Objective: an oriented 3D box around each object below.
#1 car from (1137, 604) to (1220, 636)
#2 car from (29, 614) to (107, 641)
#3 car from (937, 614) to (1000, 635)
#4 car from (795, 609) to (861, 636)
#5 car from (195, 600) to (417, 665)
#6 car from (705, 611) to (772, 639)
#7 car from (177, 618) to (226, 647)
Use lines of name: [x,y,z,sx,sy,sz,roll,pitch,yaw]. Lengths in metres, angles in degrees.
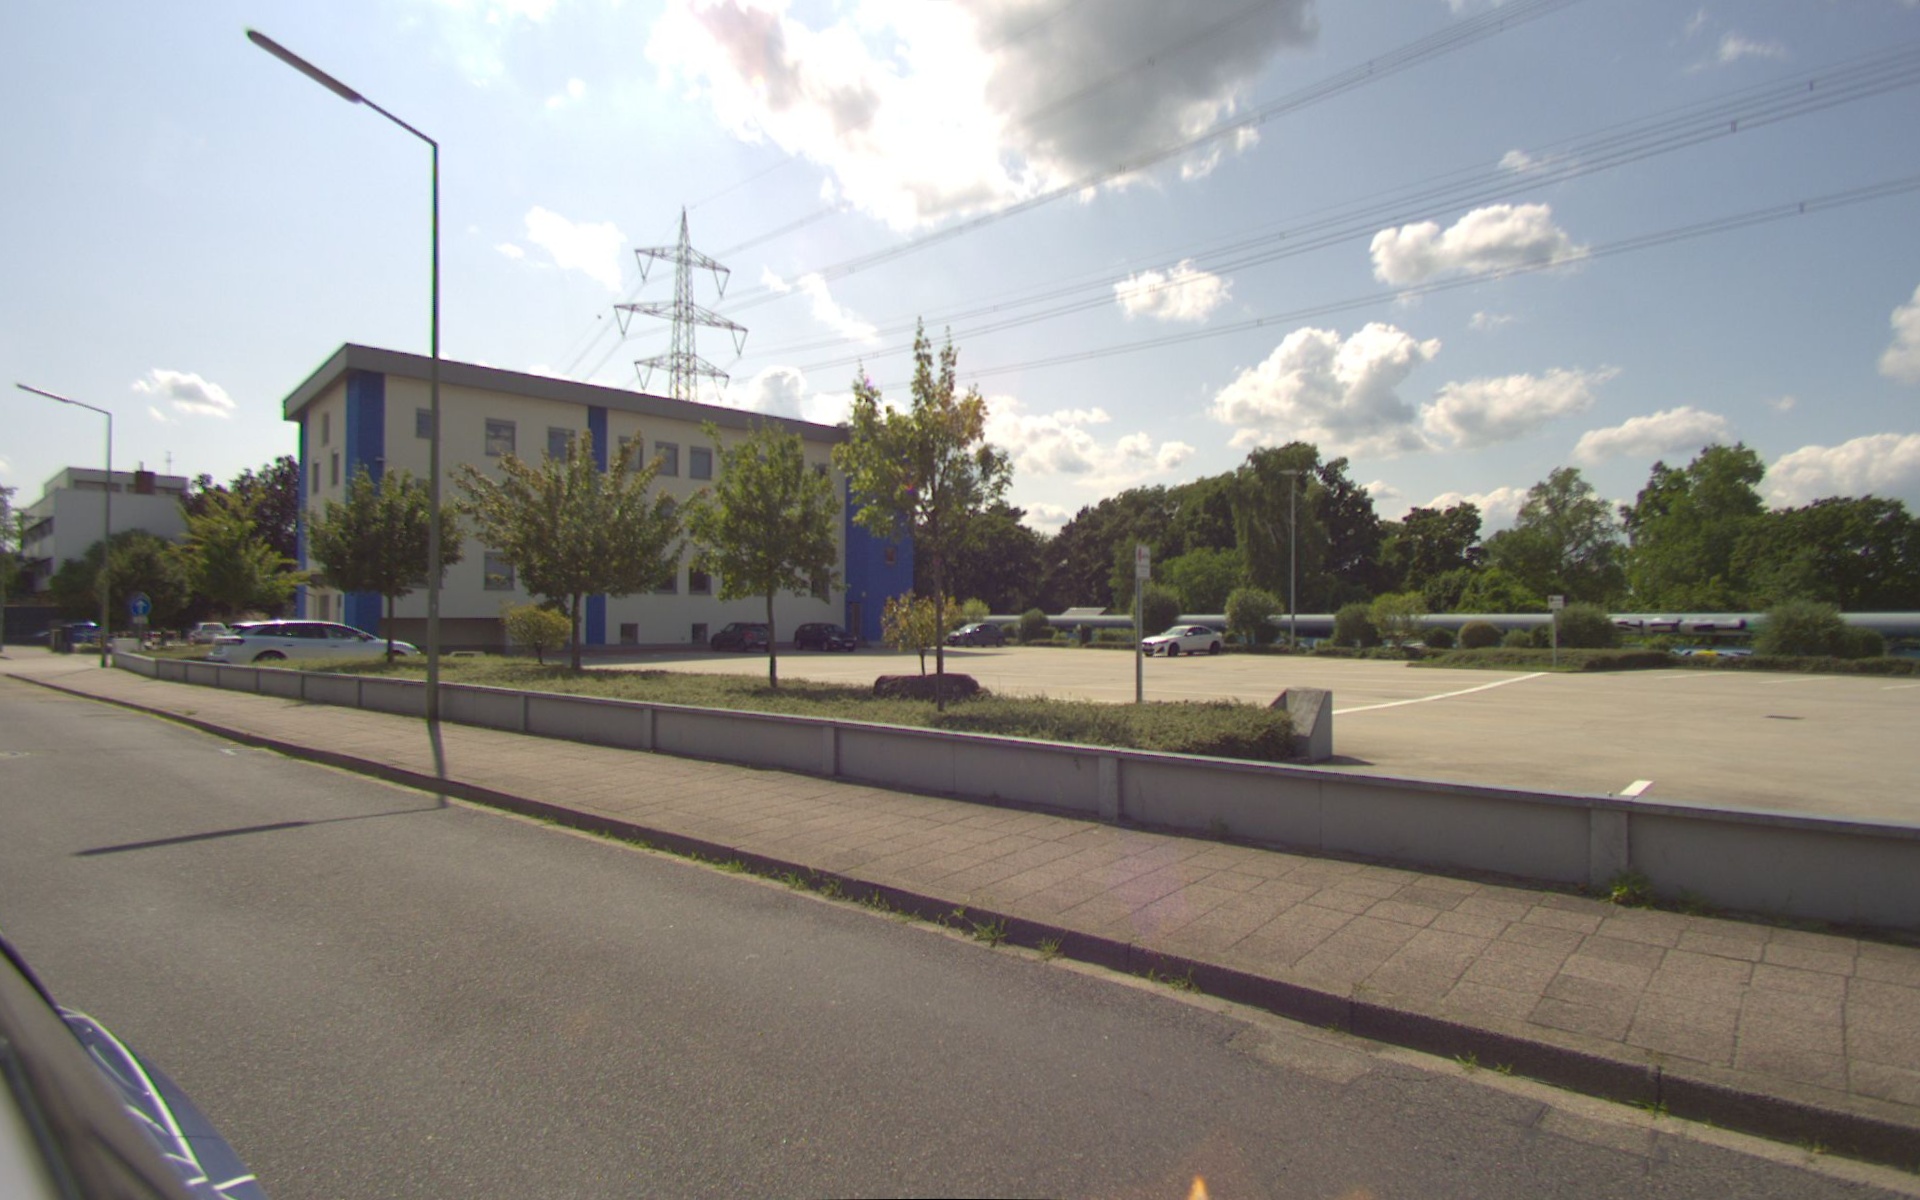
car: [10.313,0.940,47.684,3.763,1.485,1.808,1,-2,-36]
car: [-59.147,1.813,67.137,1.877,1.721,3.610,-1,-1,40]
car: [0.532,1.513,62.084,3.553,1.261,1.806,1,-2,-41]
car: [-6.979,1.159,53.416,1.544,1.386,3.682,1,-1,-45]
car: [-17.546,0.818,27.349,1.999,1.614,4.705,-1,-1,41]
car: [-11.109,1.242,50.595,1.544,1.386,3.682,1,-2,-45]
car: [-46.854,1.979,62.470,1.803,1.649,4.849,2,-2,-44]
